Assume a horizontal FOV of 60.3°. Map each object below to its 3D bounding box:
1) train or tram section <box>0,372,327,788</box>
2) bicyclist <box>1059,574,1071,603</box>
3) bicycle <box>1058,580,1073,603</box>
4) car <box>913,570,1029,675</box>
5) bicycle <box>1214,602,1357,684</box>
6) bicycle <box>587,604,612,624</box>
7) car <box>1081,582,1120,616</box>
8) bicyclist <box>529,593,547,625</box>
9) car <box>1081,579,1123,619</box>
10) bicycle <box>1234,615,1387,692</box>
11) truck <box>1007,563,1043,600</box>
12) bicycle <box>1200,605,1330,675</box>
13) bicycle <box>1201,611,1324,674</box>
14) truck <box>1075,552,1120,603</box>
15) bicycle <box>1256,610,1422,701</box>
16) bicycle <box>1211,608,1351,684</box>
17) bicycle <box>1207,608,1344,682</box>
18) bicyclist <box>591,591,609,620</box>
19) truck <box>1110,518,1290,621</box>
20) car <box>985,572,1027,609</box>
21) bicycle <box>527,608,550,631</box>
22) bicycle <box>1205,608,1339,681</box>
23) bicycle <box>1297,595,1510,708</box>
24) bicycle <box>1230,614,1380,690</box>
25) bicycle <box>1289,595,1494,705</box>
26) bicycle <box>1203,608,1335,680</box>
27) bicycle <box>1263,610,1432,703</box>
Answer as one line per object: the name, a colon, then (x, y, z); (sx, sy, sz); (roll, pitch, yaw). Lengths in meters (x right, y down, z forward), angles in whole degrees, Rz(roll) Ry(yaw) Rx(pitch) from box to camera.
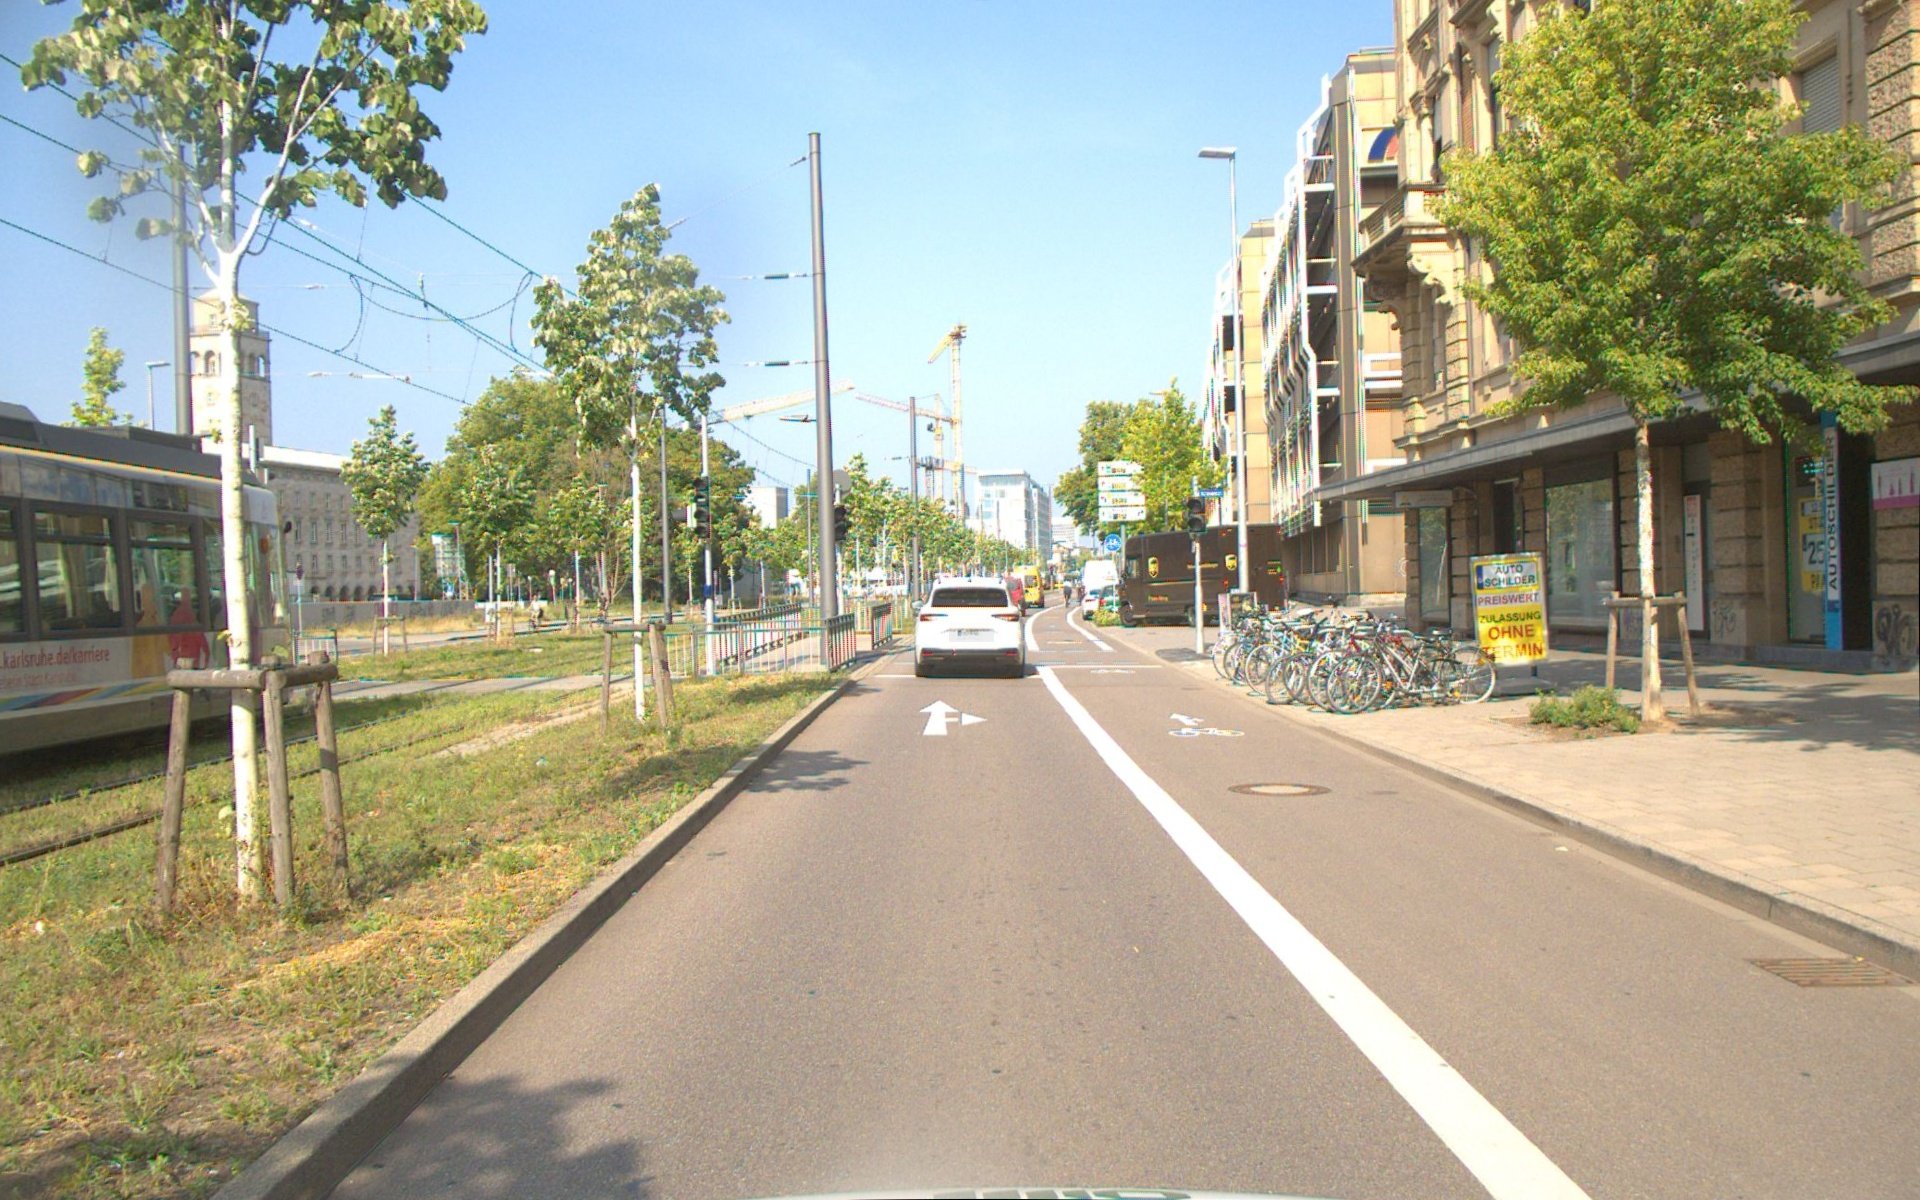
train or tram section: (-9.843, -0.134, 15.829); (2.839, 3.649, 12.223); (-2, 0, 0)
bicyclist: (7.113, -0.776, 111.763); (0.694, 1.929, 0.843); (-1, 0, -1)
bicycle: (7.118, -0.571, 111.936); (0.766, 1.522, 2.800); (-1, 0, 0)
car: (0.115, 0.346, 28.204); (1.780, 1.617, 4.405); (-1, 0, -2)
bicycle: (4.618, 0.604, 23.513); (1.894, 1.030, 0.441); (-4, 0, 2)
bicycle: (-19.015, 0.738, 87.211); (0.681, 1.008, 2.824); (-1, 0, 0)
car: (6.133, -0.061, 71.991); (1.615, 1.409, 3.528); (-1, 0, 5)
bicyclist: (-19.250, 0.414, 75.501); (0.527, 1.447, 0.900); (-1, 0, 2)
car: (5.816, -0.057, 67.630); (1.615, 1.525, 3.528); (-1, 0, 5)
bicycle: (4.623, 0.704, 21.860); (1.895, 0.889, 0.440); (-4, 0, -1)
truck: (4.324, -1.239, 110.585); (2.167, 2.358, 5.890); (-1, 0, 0)
bicycle: (4.732, 0.625, 25.733); (1.894, 0.962, 0.429); (-4, 0, 2)
bicycle: (4.819, 0.668, 26.411); (1.847, 0.878, 0.429); (-4, 0, 2)
truck: (7.097, -1.139, 85.805); (1.953, 2.552, 4.000); (-1, 0, 0)
bicycle: (4.728, 0.684, 20.662); (1.915, 1.003, 0.470); (-4, 0, -1)
bicycle: (4.637, 0.661, 23.961); (1.894, 0.962, 0.441); (-4, 0, 2)
bicycle: (4.655, 0.663, 24.440); (1.894, 0.962, 0.441); (-4, 0, 2)
bicyclist: (-19.017, 0.289, 87.400); (0.681, 1.542, 1.186); (-1, 0, 0)
truck: (7.574, -0.922, 53.249); (2.476, 3.064, 6.909); (-1, 0, -23)
car: (2.281, -0.472, 80.933); (1.952, 1.713, 4.371); (-1, 0, 3)
bicycle: (-19.232, 0.874, 75.484); (0.527, 0.975, 1.918); (-1, 0, 2)
bicycle: (4.673, 0.665, 24.824); (1.894, 0.962, 0.429); (-4, 0, 2)
bicycle: (5.004, 0.572, 18.716); (2.193, 1.123, 0.588); (-4, 0, -1)
bicycle: (4.646, 0.691, 22.304); (1.895, 0.889, 0.440); (-4, 0, -1)
bicycle: (5.012, 0.574, 19.272); (2.193, 1.123, 0.519); (-4, 0, -1)
bicycle: (4.705, 0.668, 25.267); (1.894, 0.962, 0.429); (-4, 0, 2)
bicycle: (4.717, 0.681, 20.181); (1.895, 1.003, 0.470); (-4, 0, -1)
